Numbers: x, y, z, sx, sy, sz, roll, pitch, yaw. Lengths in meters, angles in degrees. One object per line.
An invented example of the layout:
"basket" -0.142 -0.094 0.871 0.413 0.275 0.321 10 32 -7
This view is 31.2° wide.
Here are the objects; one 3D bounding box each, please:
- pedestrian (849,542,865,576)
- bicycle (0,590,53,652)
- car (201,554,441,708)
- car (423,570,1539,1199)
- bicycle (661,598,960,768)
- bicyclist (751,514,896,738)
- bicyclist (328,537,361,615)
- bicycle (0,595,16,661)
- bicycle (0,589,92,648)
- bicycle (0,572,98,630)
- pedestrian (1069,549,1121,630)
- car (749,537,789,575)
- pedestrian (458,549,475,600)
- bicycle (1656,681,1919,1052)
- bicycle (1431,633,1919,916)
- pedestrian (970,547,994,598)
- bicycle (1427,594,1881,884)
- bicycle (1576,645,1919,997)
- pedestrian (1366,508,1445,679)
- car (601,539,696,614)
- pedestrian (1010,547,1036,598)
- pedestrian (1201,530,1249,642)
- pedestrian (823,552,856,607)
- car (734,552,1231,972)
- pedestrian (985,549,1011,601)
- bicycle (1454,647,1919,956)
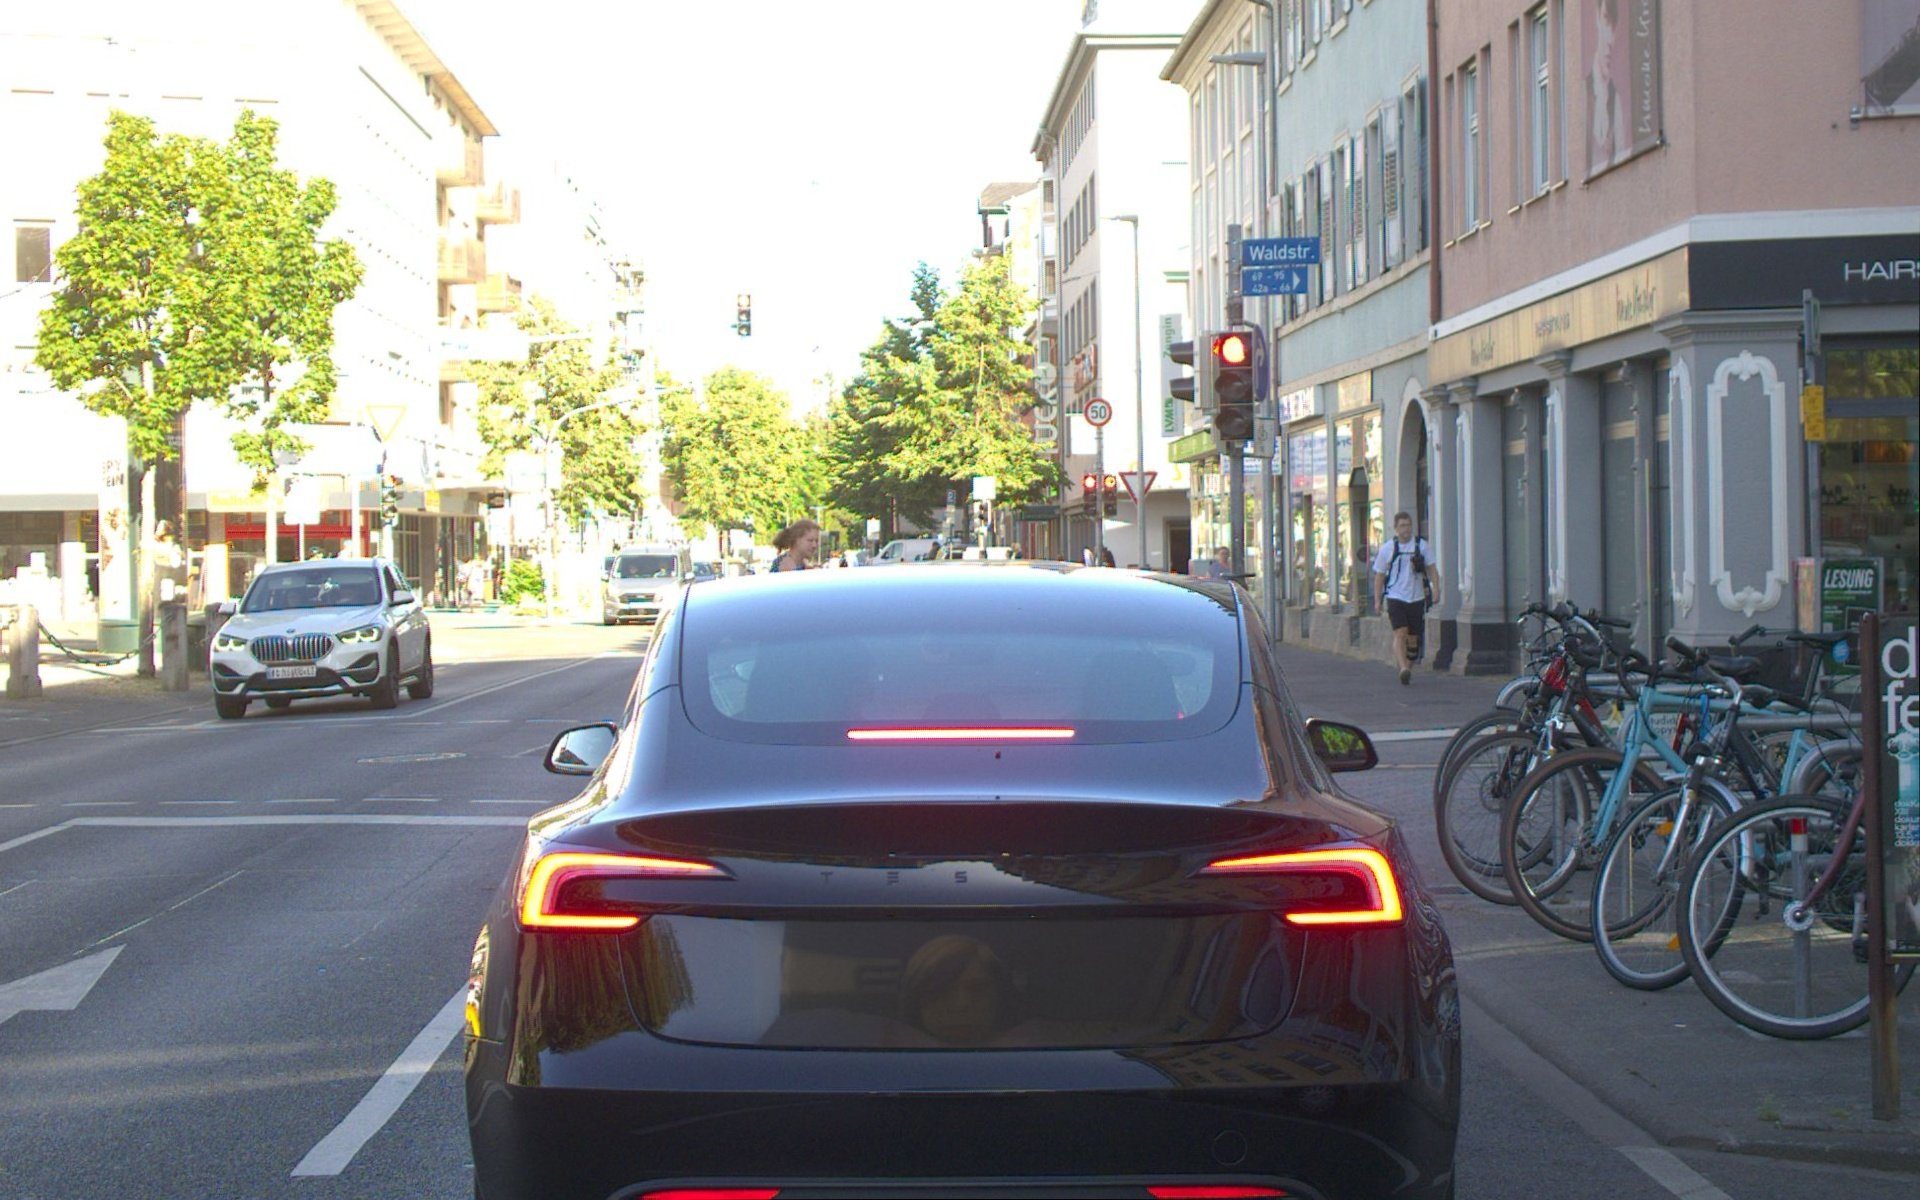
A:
"pedestrian" -6.194 -2.469 207.135 0.930 2.007 0.938 1 0 -1
"bicycle" -14.814 0.317 52.315 1.864 0.931 0.606 0 1 -1
"car" -6.656 0.290 36.144 1.789 1.455 3.757 -2 1 0
"car" 0.012 0.655 7.615 1.822 1.437 4.000 0 1 -1
"bicycle" -0.991 0.548 23.062 1.934 1.114 0.709 0 0 4
"bicyclist" -0.908 0.167 23.051 0.891 1.477 0.701 0 0 4
"bicyclist" -11.835 -0.466 66.088 0.522 1.498 0.476 1 0 -24
"bicycle" -14.699 0.392 49.825 1.864 0.931 0.606 1 0 -1
"bicycle" -14.842 0.292 54.764 1.864 0.931 0.606 0 1 -1
"bicycle" -20.804 0.019 77.954 2.361 1.291 0.513 1 0 -26
"pedestrian" 2.715 -0.215 69.215 0.754 1.626 0.956 1 0 -18
"car" -10.363 -2.383 187.159 1.993 2.007 4.000 1 1 -1
"pedestrian" -14.084 -0.729 98.171 0.459 1.455 0.518 0 1 -5
"bicycle" 3.006 0.753 9.982 1.873 1.034 0.353 -2 0 6
"bicycle" 2.844 0.685 13.642 1.873 1.034 0.547 -2 0 5
"pedestrian" 0.613 -0.771 95.789 0.472 1.412 0.522 1 0 -31
"bicycle" 2.960 0.589 14.764 1.828 1.165 0.505 -2 0 5
"bicycle" 2.991 0.700 11.175 1.873 1.084 0.414 -2 0 4
"pedestrian" 4.630 -0.067 35.790 0.750 1.759 0.836 0 0 4
"car" -7.024 -0.556 77.839 1.787 1.640 4.403 0 1 -1
"pedestrian" 1.747 -0.773 95.775 0.521 1.417 0.479 1 0 -30
"pedestrian" 4.124 -0.221 53.530 0.706 1.736 0.540 0 1 -1
"pedestrian" -3.720 -0.641 106.106 0.715 1.689 0.851 0 1 -28
"car" 0.010 0.534 13.748 1.718 1.420 3.758 0 1 -2
"pedestrian" 1.057 -0.689 95.090 0.521 1.417 0.479 1 0 -30
"bicycle" 2.773 0.717 12.467 1.873 1.034 0.533 -2 0 4
